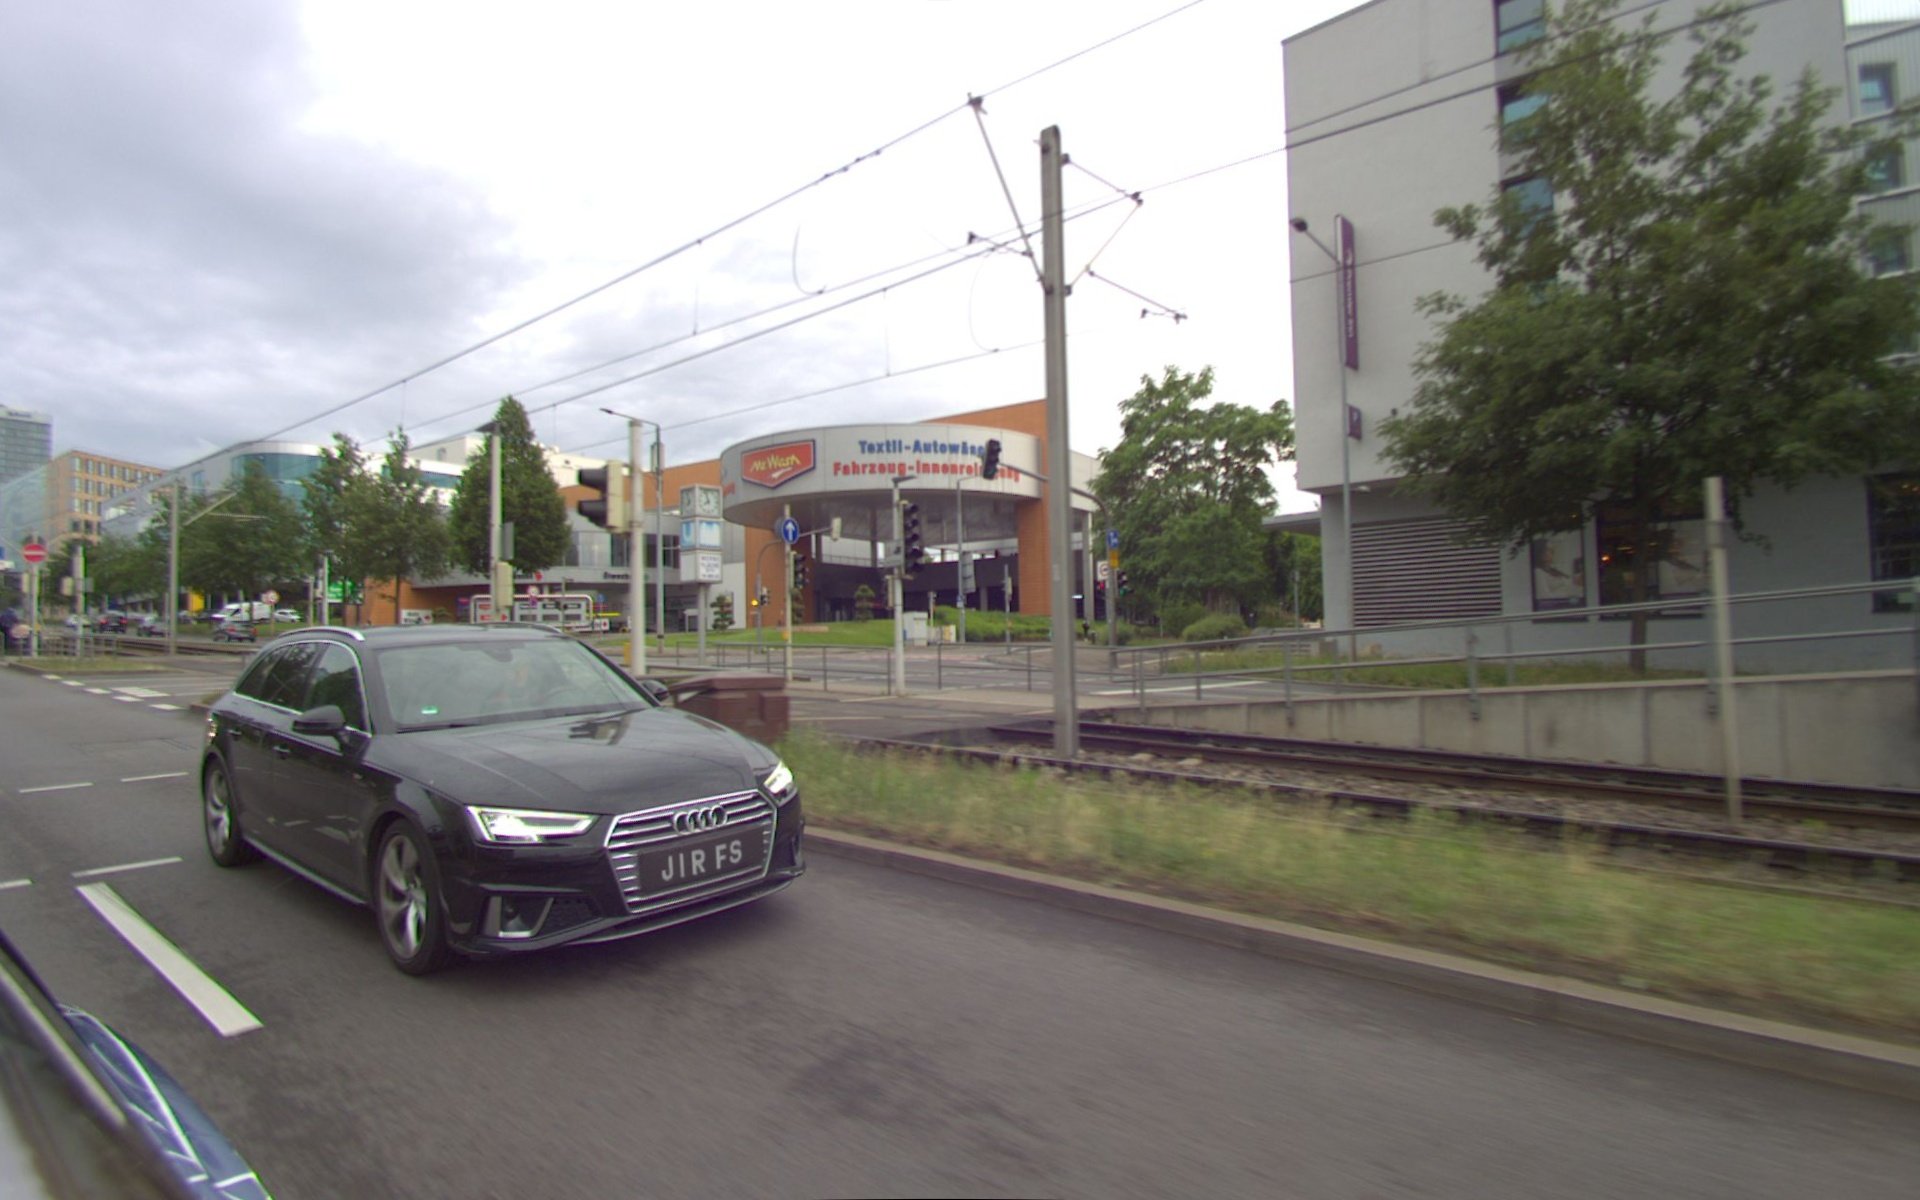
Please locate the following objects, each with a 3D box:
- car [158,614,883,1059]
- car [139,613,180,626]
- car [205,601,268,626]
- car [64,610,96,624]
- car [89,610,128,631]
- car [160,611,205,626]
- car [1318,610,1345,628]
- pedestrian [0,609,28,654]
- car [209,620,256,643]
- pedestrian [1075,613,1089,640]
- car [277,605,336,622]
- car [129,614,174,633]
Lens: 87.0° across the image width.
[{"bbox_3d":[-2.757,0.822,5.602,4.825,1.445,1.772,-1,-1,41],"label":"car"},{"bbox_3d":[-104.069,2.523,131.660,1.811,1.502,3.814,-1,0,22],"label":"car"},{"bbox_3d":[-81.143,1.465,113.579,2.264,2.648,5.442,0,1,23],"label":"car"},{"bbox_3d":[-101.966,1.947,117.207,4.702,1.529,1.974,0,1,39],"label":"car"},{"bbox_3d":[-75.227,1.779,89.360,4.386,1.788,1.973,-1,-1,41],"label":"car"},{"bbox_3d":[-95.189,2.232,123.976,1.917,1.674,3.955,-1,2,33],"label":"car"},{"bbox_3d":[45.652,2.298,124.333,2.235,2.029,3.952,0,1,35],"label":"car"},{"bbox_3d":[-35.805,1.194,38.178,0.643,1.663,0.700,-1,-1,12],"label":"pedestrian"},{"bbox_3d":[-48.764,2.081,67.842,3.777,1.434,1.711,-1,-1,40],"label":"car"},{"bbox_3d":[9.048,1.955,75.018,0.775,2.045,0.877,-1,-1,30],"label":"pedestrian"},{"bbox_3d":[-76.650,1.555,118.752,2.273,1.940,5.421,0,1,34],"label":"car"},{"bbox_3d":[-62.906,1.826,78.728,4.383,1.438,1.835,-1,-3,39],"label":"car"}]
